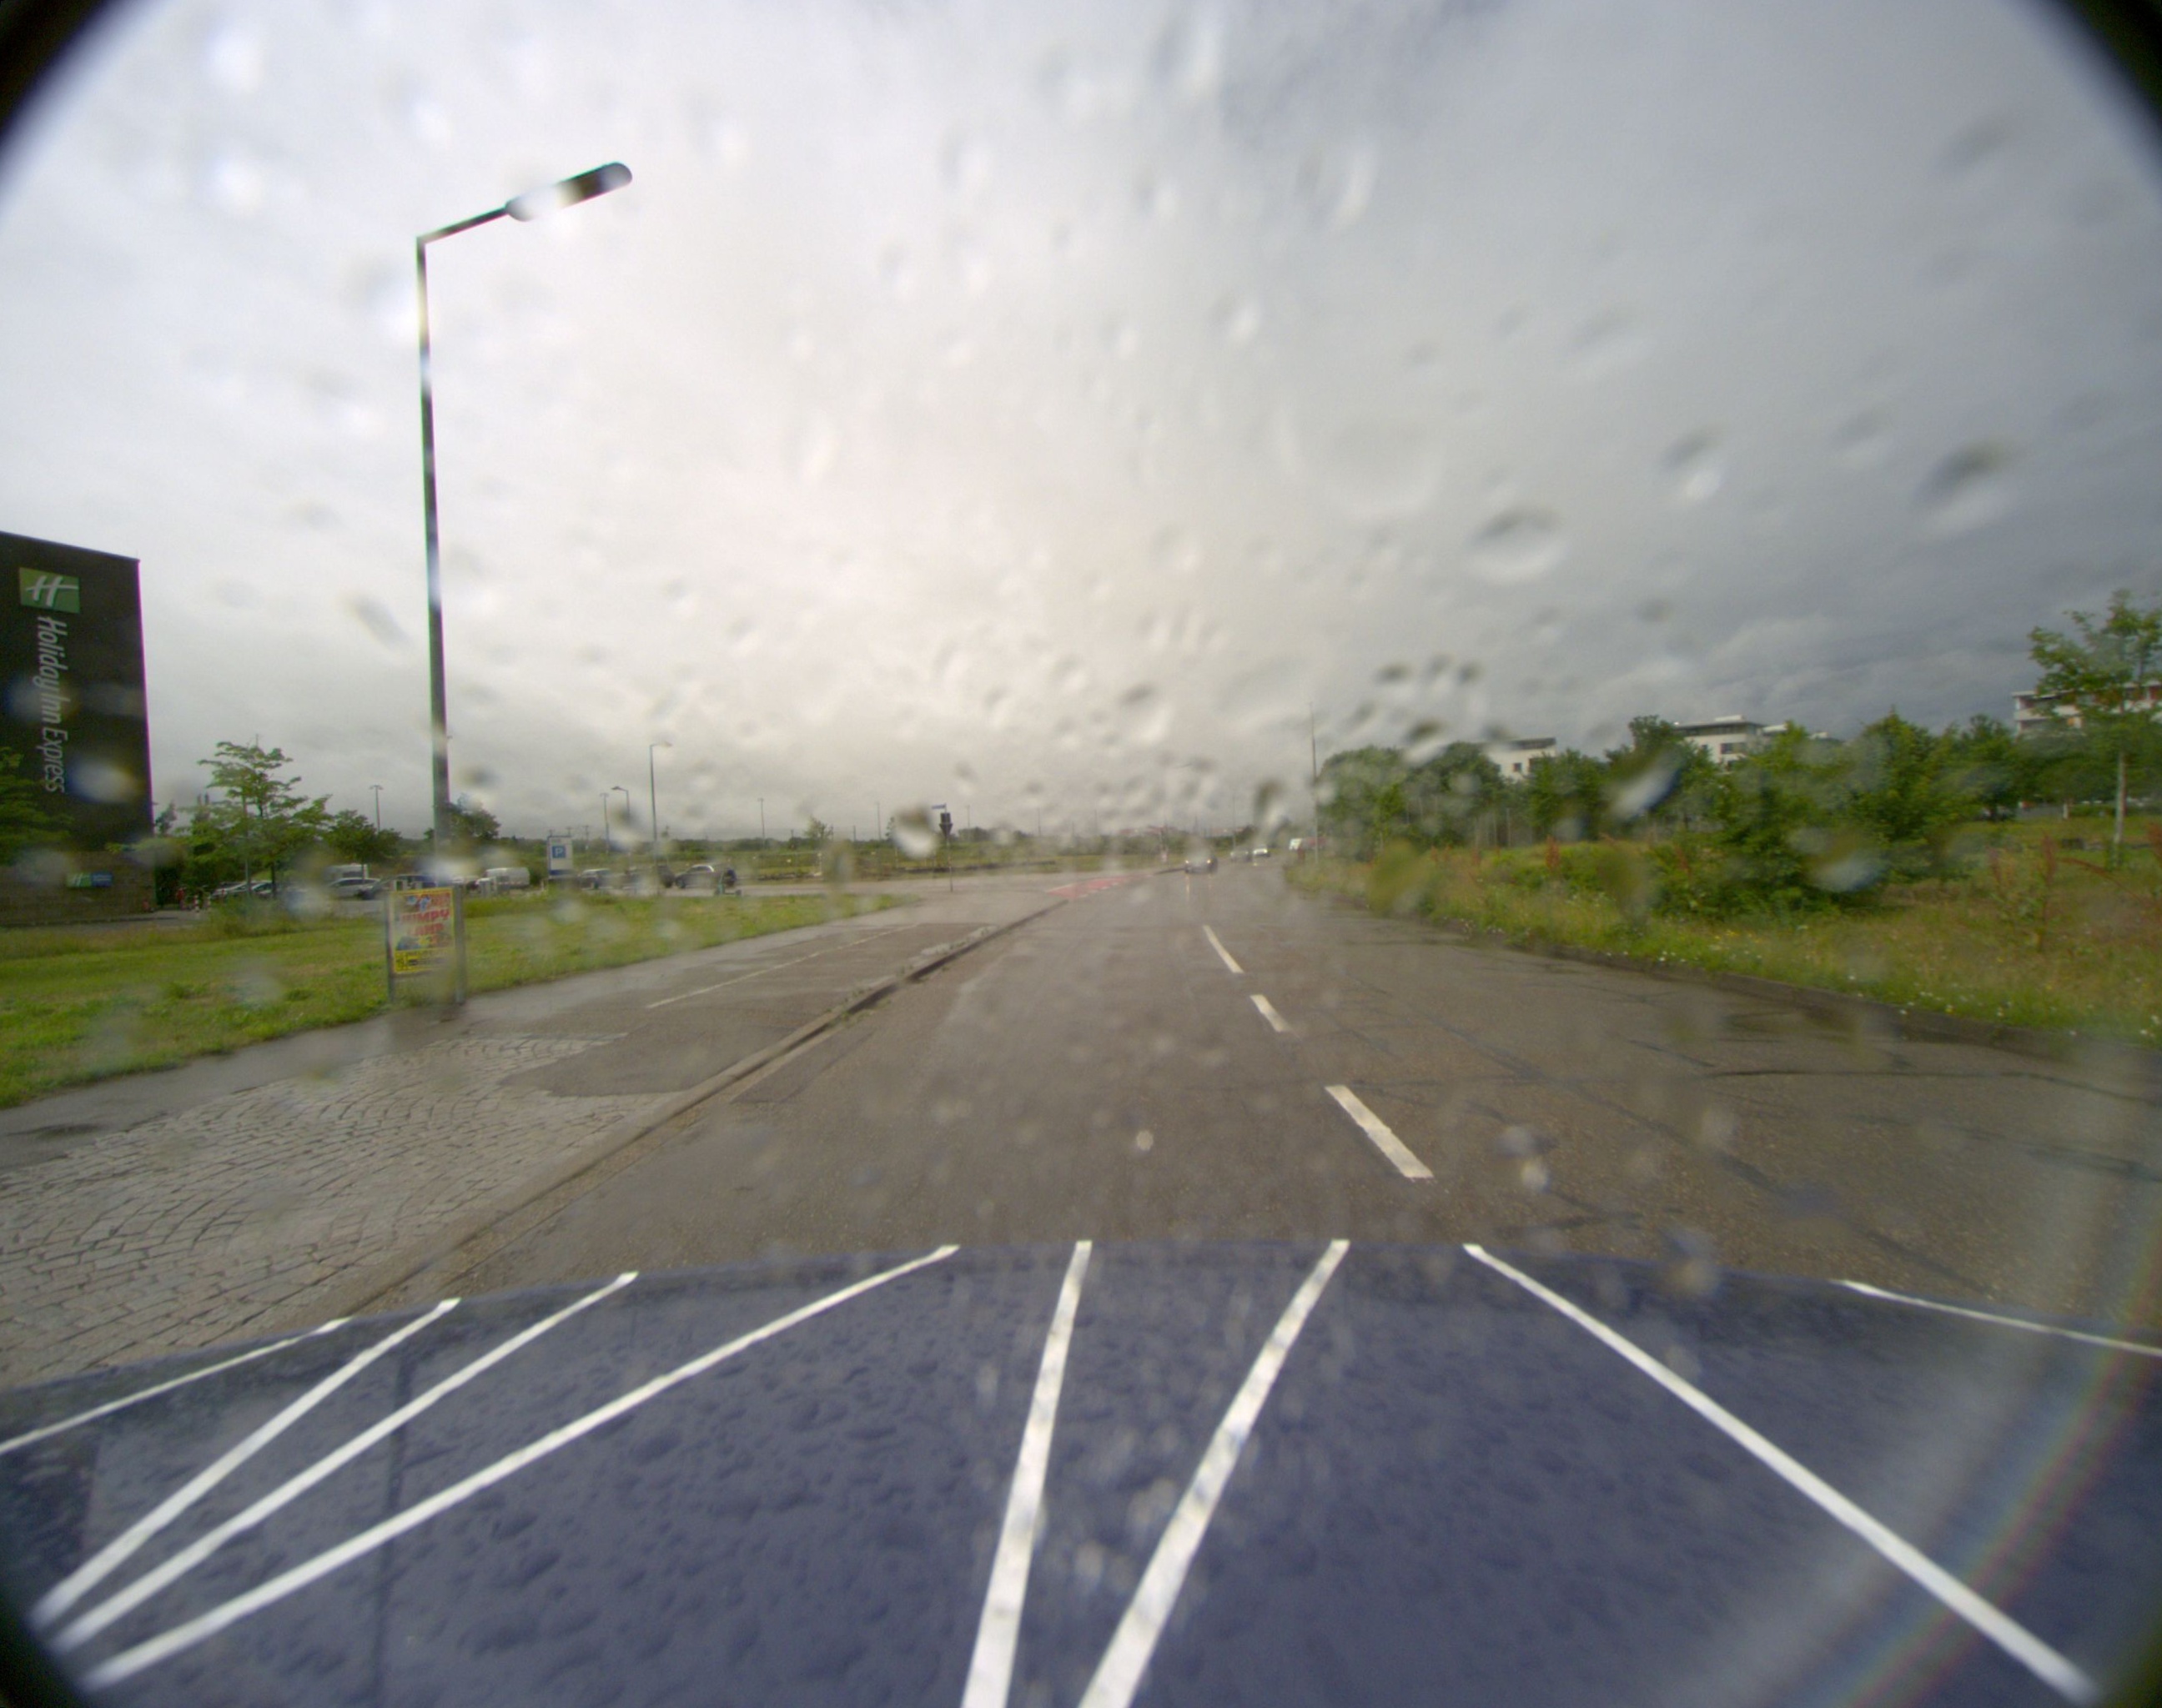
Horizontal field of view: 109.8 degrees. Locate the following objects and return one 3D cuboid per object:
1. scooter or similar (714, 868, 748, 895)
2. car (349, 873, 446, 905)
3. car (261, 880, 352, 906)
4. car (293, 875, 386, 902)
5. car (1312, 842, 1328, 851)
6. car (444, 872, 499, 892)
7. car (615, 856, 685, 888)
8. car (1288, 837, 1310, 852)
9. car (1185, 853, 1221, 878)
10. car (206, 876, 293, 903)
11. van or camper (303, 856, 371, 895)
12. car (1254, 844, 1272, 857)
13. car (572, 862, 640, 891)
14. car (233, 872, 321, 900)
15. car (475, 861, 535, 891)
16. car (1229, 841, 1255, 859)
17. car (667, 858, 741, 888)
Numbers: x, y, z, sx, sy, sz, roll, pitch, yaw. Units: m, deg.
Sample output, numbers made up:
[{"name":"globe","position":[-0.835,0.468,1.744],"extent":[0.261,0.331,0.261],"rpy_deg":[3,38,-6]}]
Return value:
[{"name":"scooter or similar","position":[-15.588,1.210,33.839],"extent":[1.283,1.180,0.503],"rpy_deg":[-1,-1,-2]},{"name":"car","position":[-40.689,2.057,45.333],"extent":[1.782,1.518,3.848],"rpy_deg":[-5,-1,26]},{"name":"car","position":[-51.664,2.597,50.769],"extent":[1.782,1.387,3.848],"rpy_deg":[-5,-1,26]},{"name":"car","position":[-47.382,2.191,48.606],"extent":[1.764,1.387,3.814],"rpy_deg":[-5,-1,26]},{"name":"car","position":[42.668,-1.369,135.814],"extent":[1.838,1.510,4.365],"rpy_deg":[-2,1,29]},{"name":"car","position":[-49.272,2.290,61.421],"extent":[3.990,1.406,2.003],"rpy_deg":[-3,0,27]},{"name":"car","position":[-29.022,1.216,51.184],"extent":[3.991,1.717,2.003],"rpy_deg":[-6,-1,24]},{"name":"car","position":[39.770,-1.785,138.355],"extent":[2.093,2.459,5.958],"rpy_deg":[0,2,33]},{"name":"car","position":[8.185,0.725,50.738],"extent":[1.871,1.510,4.361],"rpy_deg":[-1,1,16]},{"name":"car","position":[-60.477,2.551,55.346],"extent":[1.782,1.605,3.848],"rpy_deg":[-5,-1,26]},{"name":"van or camper","position":[-71.893,2.112,73.385],"extent":[6.785,3.182,2.534],"rpy_deg":[-6,-1,28]},{"name":"car","position":[23.575,-0.508,98.435],"extent":[1.839,1.510,4.362],"rpy_deg":[-2,0,18]},{"name":"car","position":[-33.194,1.588,53.085],"extent":[3.991,1.631,2.003],"rpy_deg":[-6,-1,24]},{"name":"car","position":[-57.322,2.249,54.235],"extent":[1.782,1.605,3.848],"rpy_deg":[-5,-1,26]},{"name":"car","position":[-44.921,1.711,59.205],"extent":[4.328,1.761,2.003],"rpy_deg":[-8,-2,28]},{"name":"car","position":[16.261,-0.438,76.722],"extent":[2.007,1.695,4.334],"rpy_deg":[-2,1,19]},{"name":"car","position":[-23.907,1.222,48.223],"extent":[3.990,1.609,2.002],"rpy_deg":[-2,3,24]}]
